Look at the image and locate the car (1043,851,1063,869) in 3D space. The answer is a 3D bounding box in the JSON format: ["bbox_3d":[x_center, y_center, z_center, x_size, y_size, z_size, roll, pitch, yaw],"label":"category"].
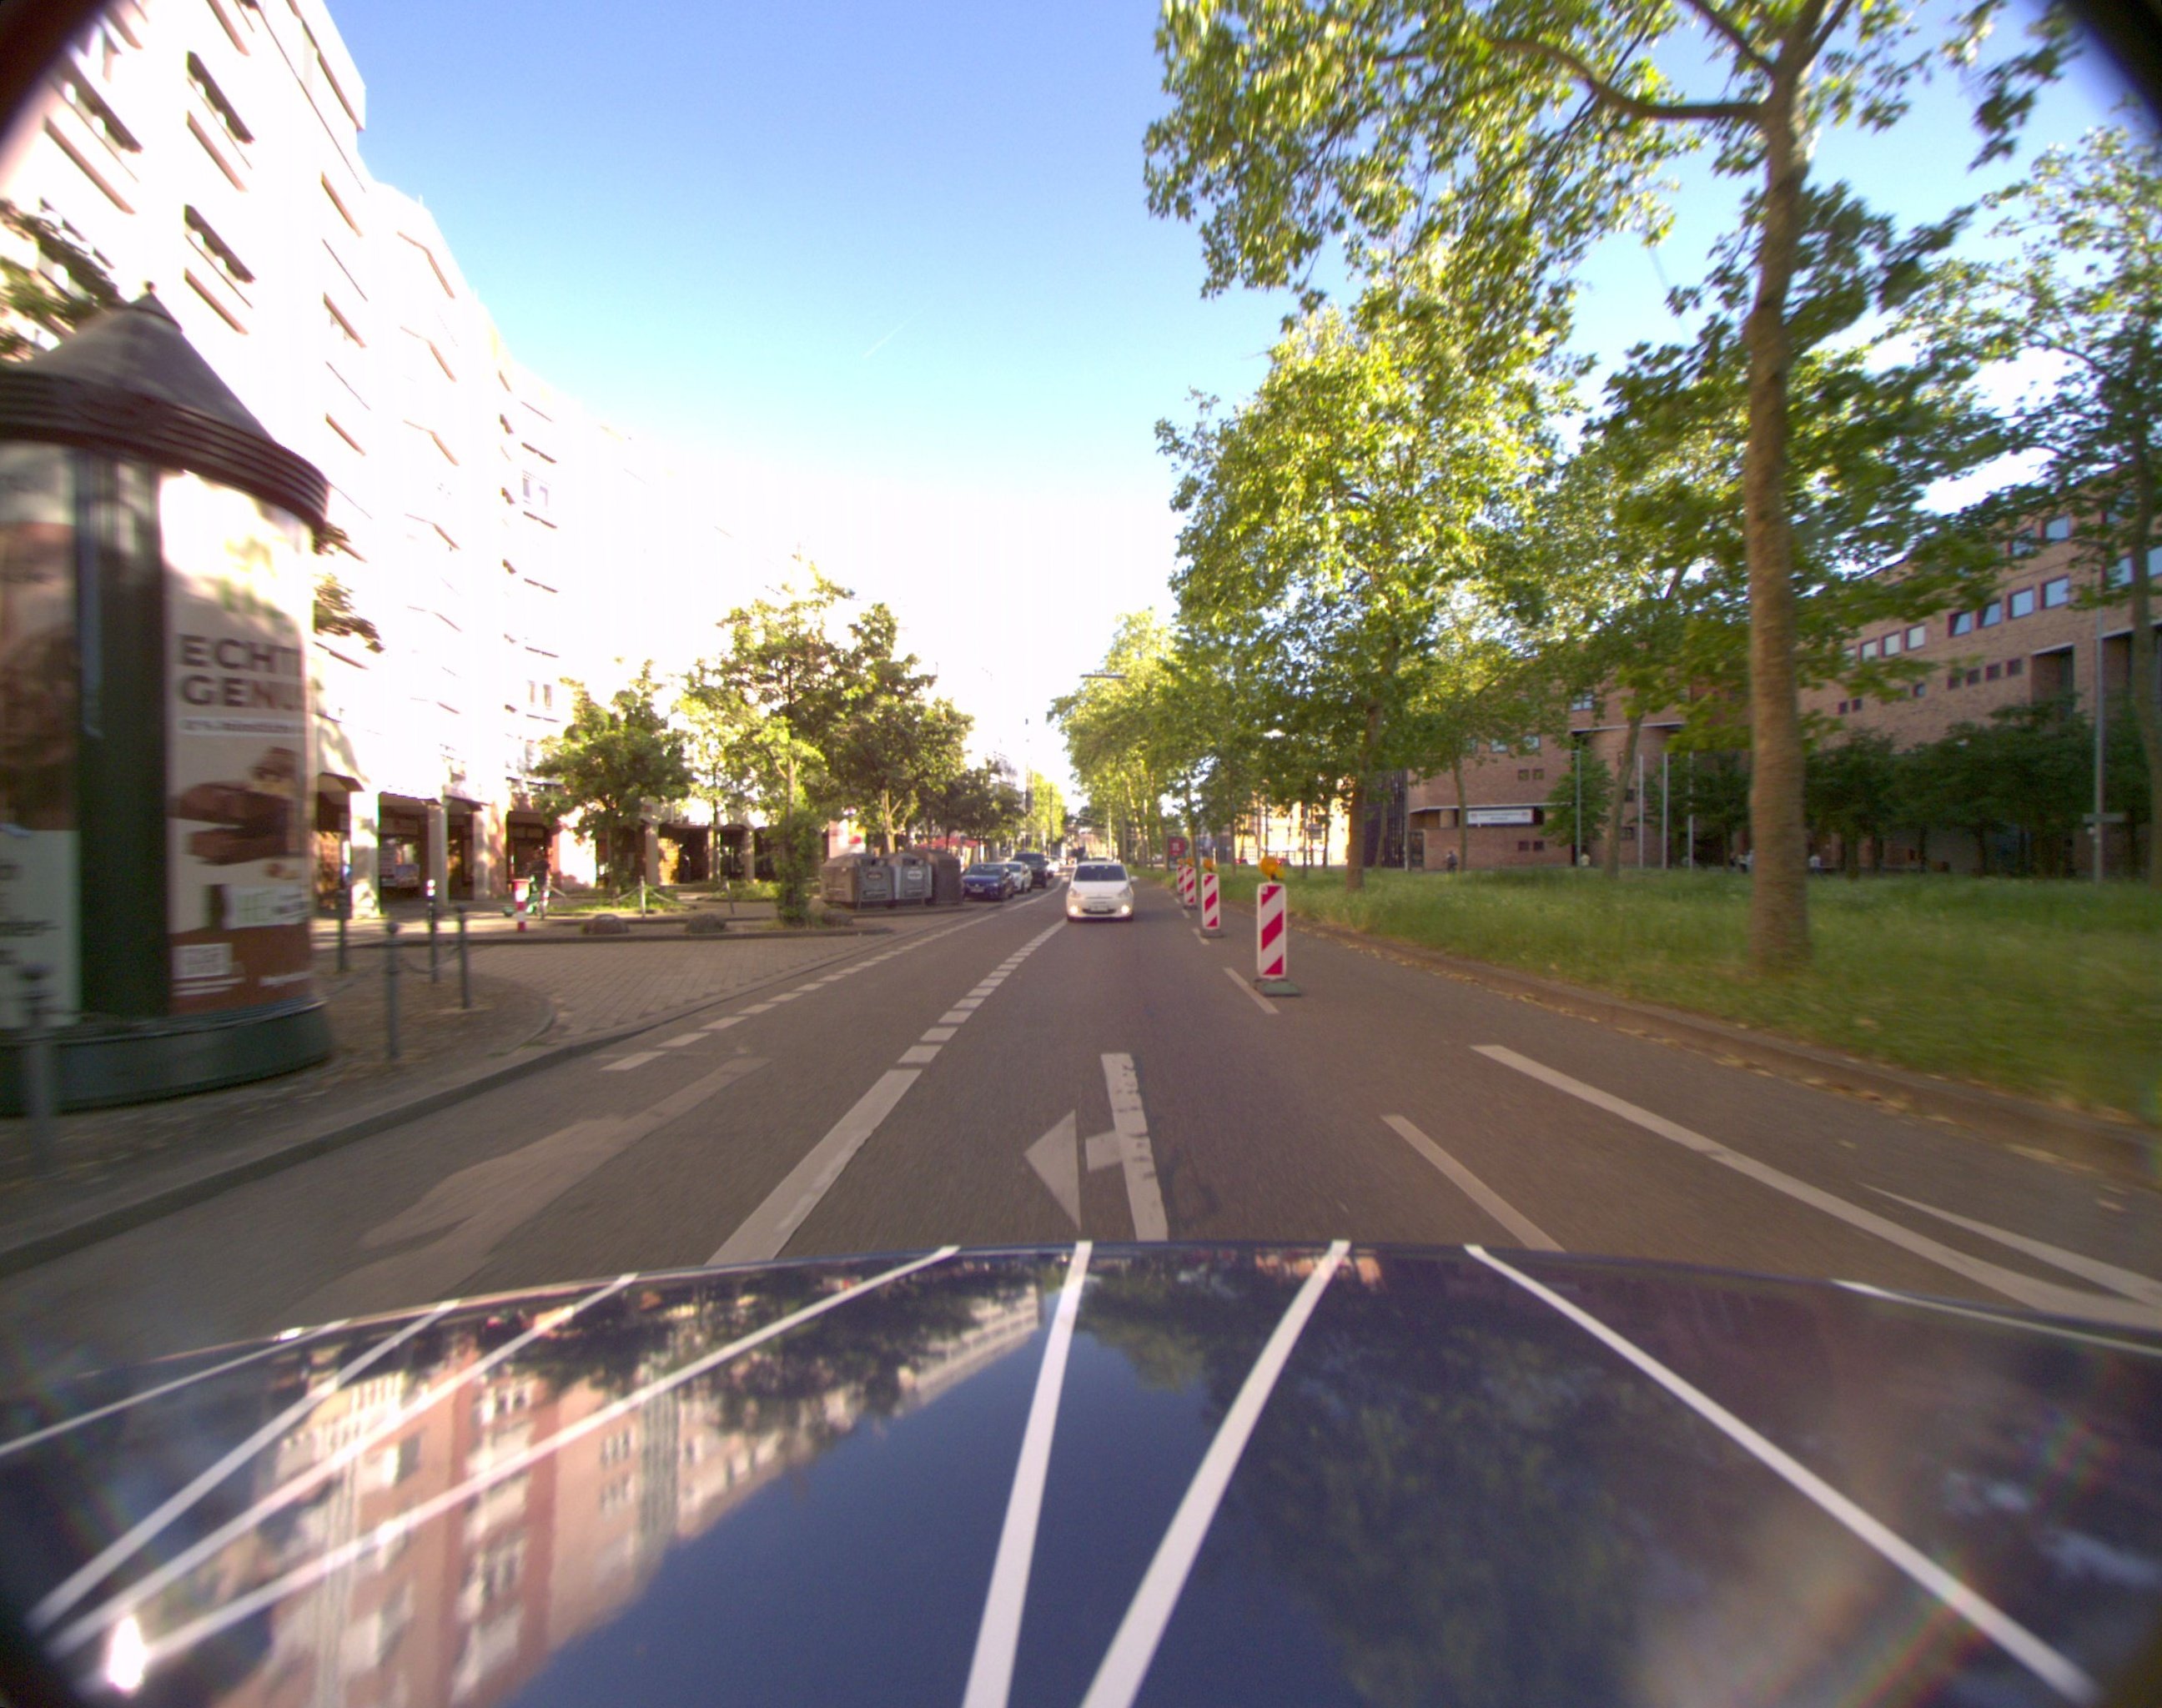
[{"bbox_3d":[-3.027,0.686,83.760,1.922,1.893,4.861,1,0,0],"label":"car"}]

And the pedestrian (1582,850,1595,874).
[{"bbox_3d":[33.808,0.527,50.595,0.417,1.535,0.653,0,1,3],"label":"pedestrian"}]

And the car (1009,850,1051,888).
[{"bbox_3d":[-2.751,0.778,42.200,2.043,1.932,5.197,1,0,-1],"label":"car"}]

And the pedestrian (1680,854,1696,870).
[{"bbox_3d":[45.191,0.615,56.571,0.666,1.191,0.630,-1,1,-9],"label":"pedestrian"}]

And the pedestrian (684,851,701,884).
[{"bbox_3d":[-21.767,0.742,42.572,0.779,1.795,0.724,-1,1,-33],"label":"pedestrian"}]

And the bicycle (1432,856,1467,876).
[{"bbox_3d":[22.048,0.702,45.523,0.959,1.119,2.436,0,1,1],"label":"bicycle"}]

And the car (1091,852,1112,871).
[{"bbox_3d":[1.783,0.650,68.420,1.824,1.630,4.000,-1,0,1],"label":"car"}]

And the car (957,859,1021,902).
[{"bbox_3d":[-3.484,0.974,29.387,1.706,1.475,4.249,1,0,3],"label":"car"}]

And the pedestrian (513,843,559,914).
[{"bbox_3d":[-15.359,0.684,21.430,0.640,1.970,0.776,-1,1,10],"label":"pedestrian"}]

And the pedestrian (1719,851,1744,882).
[{"bbox_3d":[33.407,0.638,39.023,0.665,1.607,0.756,0,1,0],"label":"pedestrian"}]

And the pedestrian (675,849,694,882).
[{"bbox_3d":[-22.514,0.641,43.174,0.622,1.859,0.709,-1,1,3],"label":"pedestrian"}]

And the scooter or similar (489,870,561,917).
[{"bbox_3d":[-14.086,0.996,19.252,1.457,1.139,0.559,-1,1,6],"label":"scooter or similar"}]

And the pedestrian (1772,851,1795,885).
[{"bbox_3d":[34.504,0.687,37.328,0.612,1.670,0.596,0,1,-1],"label":"pedestrian"}]

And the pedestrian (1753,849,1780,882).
[{"bbox_3d":[33.953,0.562,37.626,0.665,1.607,0.756,0,1,0],"label":"pedestrian"}]

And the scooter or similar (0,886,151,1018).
[{"bbox_3d":[-11.128,1.023,8.321,0.486,1.266,1.448,-1,1,-19],"label":"scooter or similar"}]

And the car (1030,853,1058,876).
[{"bbox_3d":[-2.890,0.810,60.062,1.802,1.714,4.460,1,0,1],"label":"car"}]

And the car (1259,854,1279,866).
[{"bbox_3d":[23.957,0.767,96.909,1.617,1.420,3.221,0,0,-1],"label":"car"}]

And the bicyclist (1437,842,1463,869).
[{"bbox_3d":[22.039,0.082,45.426,0.943,1.562,1.209,0,0,1],"label":"bicyclist"}]

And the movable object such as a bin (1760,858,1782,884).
[{"bbox_3d":[33.203,0.813,36.554,0.356,1.271,0.756,0,0,0],"label":"movable object such as a bin"}]

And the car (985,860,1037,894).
[{"bbox_3d":[-3.176,1.018,35.179,1.705,1.457,4.176,1,0,4],"label":"car"}]

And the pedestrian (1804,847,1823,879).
[{"bbox_3d":[35.358,0.431,36.671,0.484,1.496,0.463,0,1,-1],"label":"pedestrian"}]

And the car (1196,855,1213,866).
[{"bbox_3d":[16.685,0.869,102.784,1.617,1.421,4.149,-1,0,-1],"label":"car"}]

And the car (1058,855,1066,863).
[{"bbox_3d":[-4.167,1.024,168.164,1.865,1.724,4.018,0,0,-1],"label":"car"}]

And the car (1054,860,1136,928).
[{"bbox_3d":[0.465,0.913,19.198,1.720,1.442,4.426,-3,0,5],"label":"car"}]

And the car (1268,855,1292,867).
[{"bbox_3d":[23.690,0.806,90.626,1.675,1.420,4.149,0,0,-1],"label":"car"}]

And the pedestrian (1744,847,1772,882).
[{"bbox_3d":[33.236,0.508,37.334,0.665,1.712,0.796,0,1,0],"label":"pedestrian"}]

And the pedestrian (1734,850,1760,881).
[{"bbox_3d":[34.125,0.578,38.947,0.665,1.607,0.756,-1,1,1],"label":"pedestrian"}]

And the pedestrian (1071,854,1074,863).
[{"bbox_3d":[-1.773,0.899,166.219,0.614,2.002,0.530,0,0,-1],"label":"pedestrian"}]
